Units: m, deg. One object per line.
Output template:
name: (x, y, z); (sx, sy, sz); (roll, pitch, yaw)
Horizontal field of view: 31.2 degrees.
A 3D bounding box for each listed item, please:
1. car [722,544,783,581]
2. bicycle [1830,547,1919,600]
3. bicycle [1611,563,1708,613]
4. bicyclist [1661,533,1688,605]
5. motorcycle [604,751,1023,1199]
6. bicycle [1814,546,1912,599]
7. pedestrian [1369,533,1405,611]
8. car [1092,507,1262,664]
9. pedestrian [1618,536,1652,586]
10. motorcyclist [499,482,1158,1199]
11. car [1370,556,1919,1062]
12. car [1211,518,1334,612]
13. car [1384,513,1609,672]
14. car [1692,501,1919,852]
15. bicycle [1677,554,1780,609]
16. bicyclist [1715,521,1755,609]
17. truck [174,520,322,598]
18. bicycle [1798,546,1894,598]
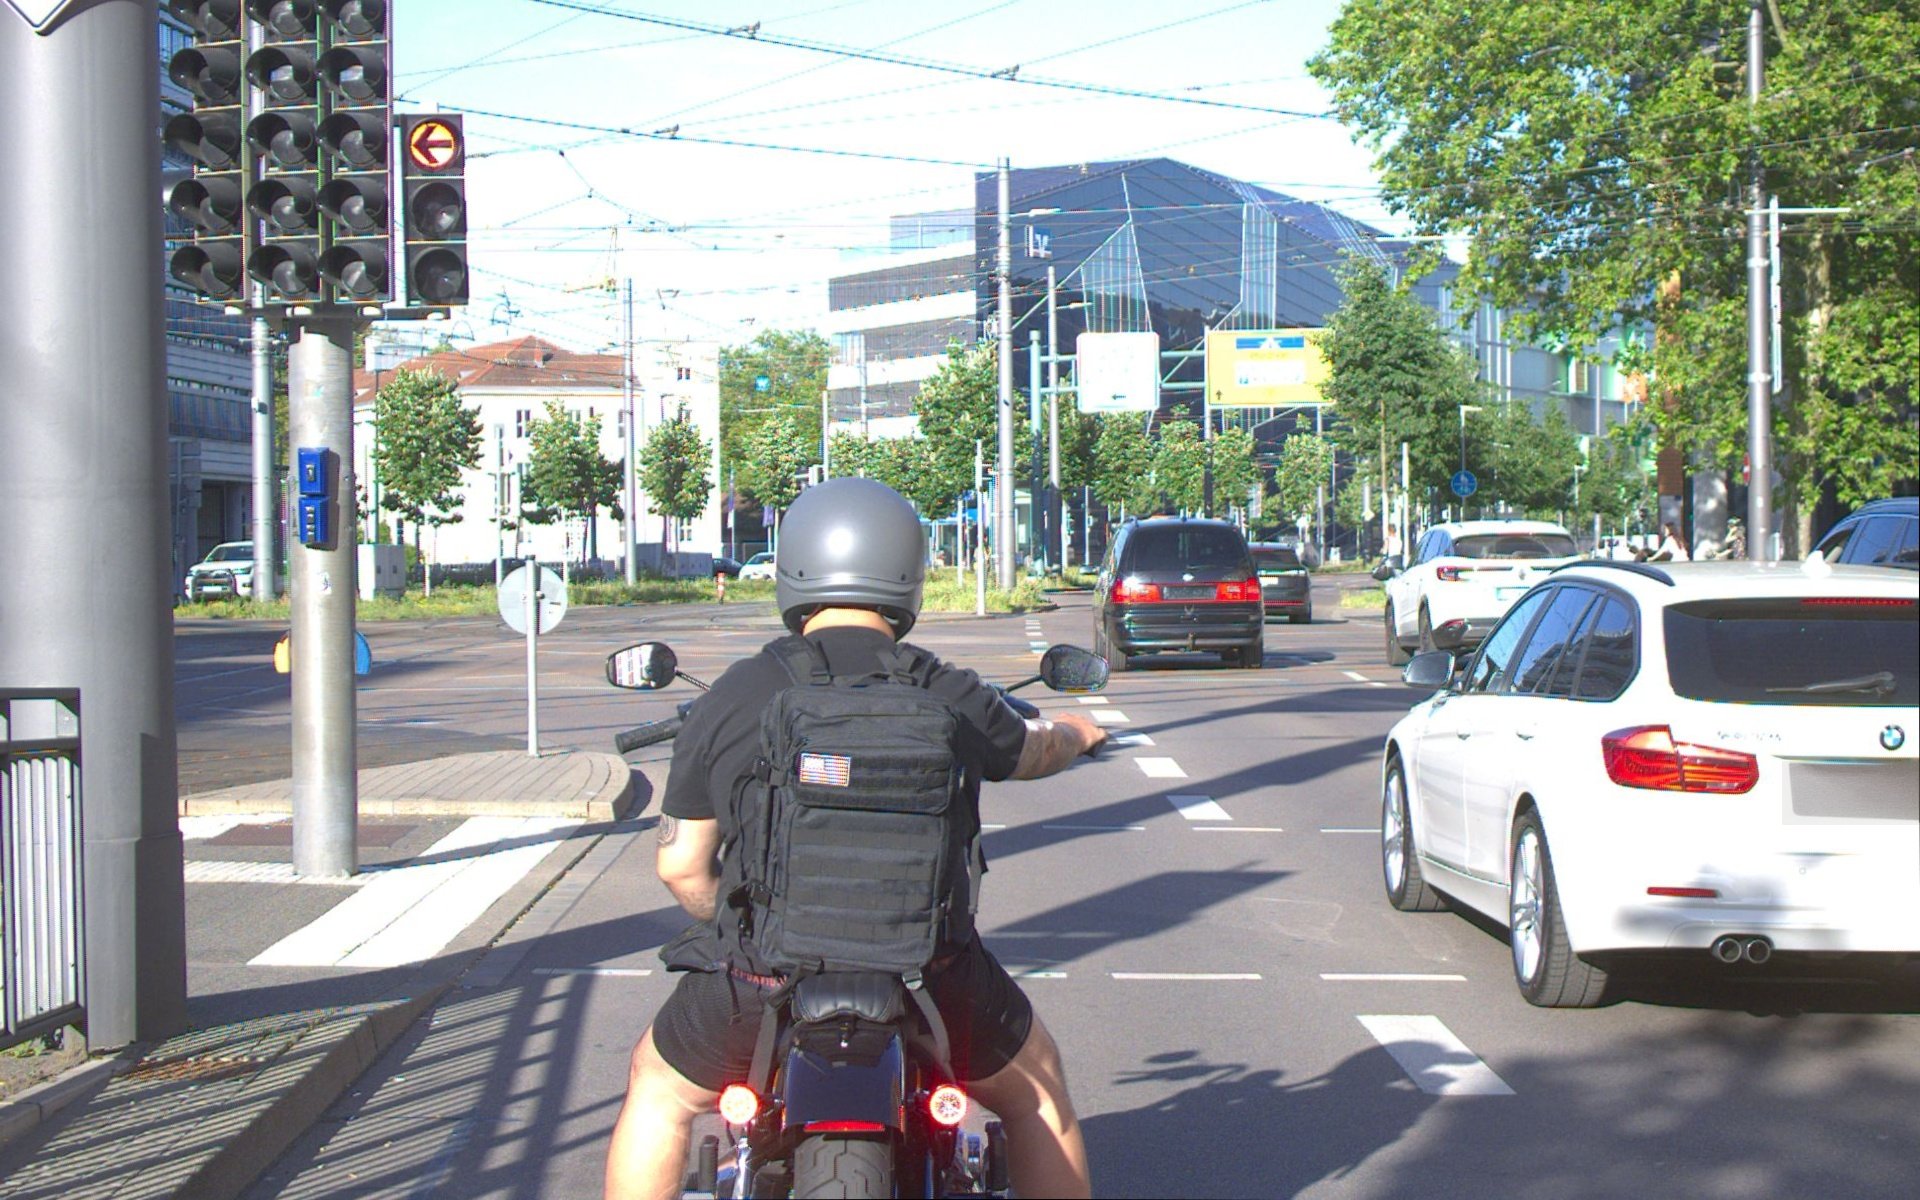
car: (-8.499, -1.549, 141.261); (1.825, 1.425, 4.529); (0, 1, 5)
bicycle: (18.457, -0.534, 69.003); (1.880, 1.043, 0.360); (1, 0, -1)
bicycle: (13.276, -0.235, 65.285); (1.829, 0.922, 0.357); (1, 0, 38)
bicyclist: (13.528, -0.589, 65.069); (0.381, 1.368, 0.344); (1, 0, 37)
motorcycle: (-0.229, 0.862, 6.093); (0.600, 1.032, 2.234); (1, 1, -1)
bicycle: (18.381, -0.560, 69.988); (1.880, 1.043, 0.360); (1, 1, -1)
pedestrian: (8.567, -0.561, 68.913); (0.587, 1.551, 0.489); (1, 0, -8)
car: (2.431, -0.163, 39.288); (1.803, 1.672, 4.041); (1, 0, 2)
pedestrian: (17.922, -1.043, 91.280); (0.819, 1.309, 0.637); (1, 0, 9)
motorcyclist: (-0.210, 0.603, 5.860); (1.030, 1.588, 0.873); (0, 1, -1)
car: (2.618, 0.600, 12.176); (1.731, 1.452, 4.418); (1, 0, -1)
car: (5.793, -0.638, 64.158); (1.803, 1.672, 4.041); (1, 0, -1)
car: (5.727, -0.128, 37.126); (1.731, 1.593, 4.041); (1, 1, 0)
car: (5.470, 0.377, 18.489); (1.731, 1.726, 4.612); (1, 0, -5)
bicycle: (14.683, -0.345, 65.694); (1.872, 1.040, 0.536); (0, 0, 19)
bicyclist: (14.801, -0.661, 65.655); (0.688, 1.667, 0.540); (0, 0, 19)
truck: (-18.557, -1.056, 89.831); (1.994, 1.873, 5.154); (-3, 0, 10)
bicycle: (18.332, -0.577, 71.139); (1.880, 1.043, 0.360); (1, 1, -1)
